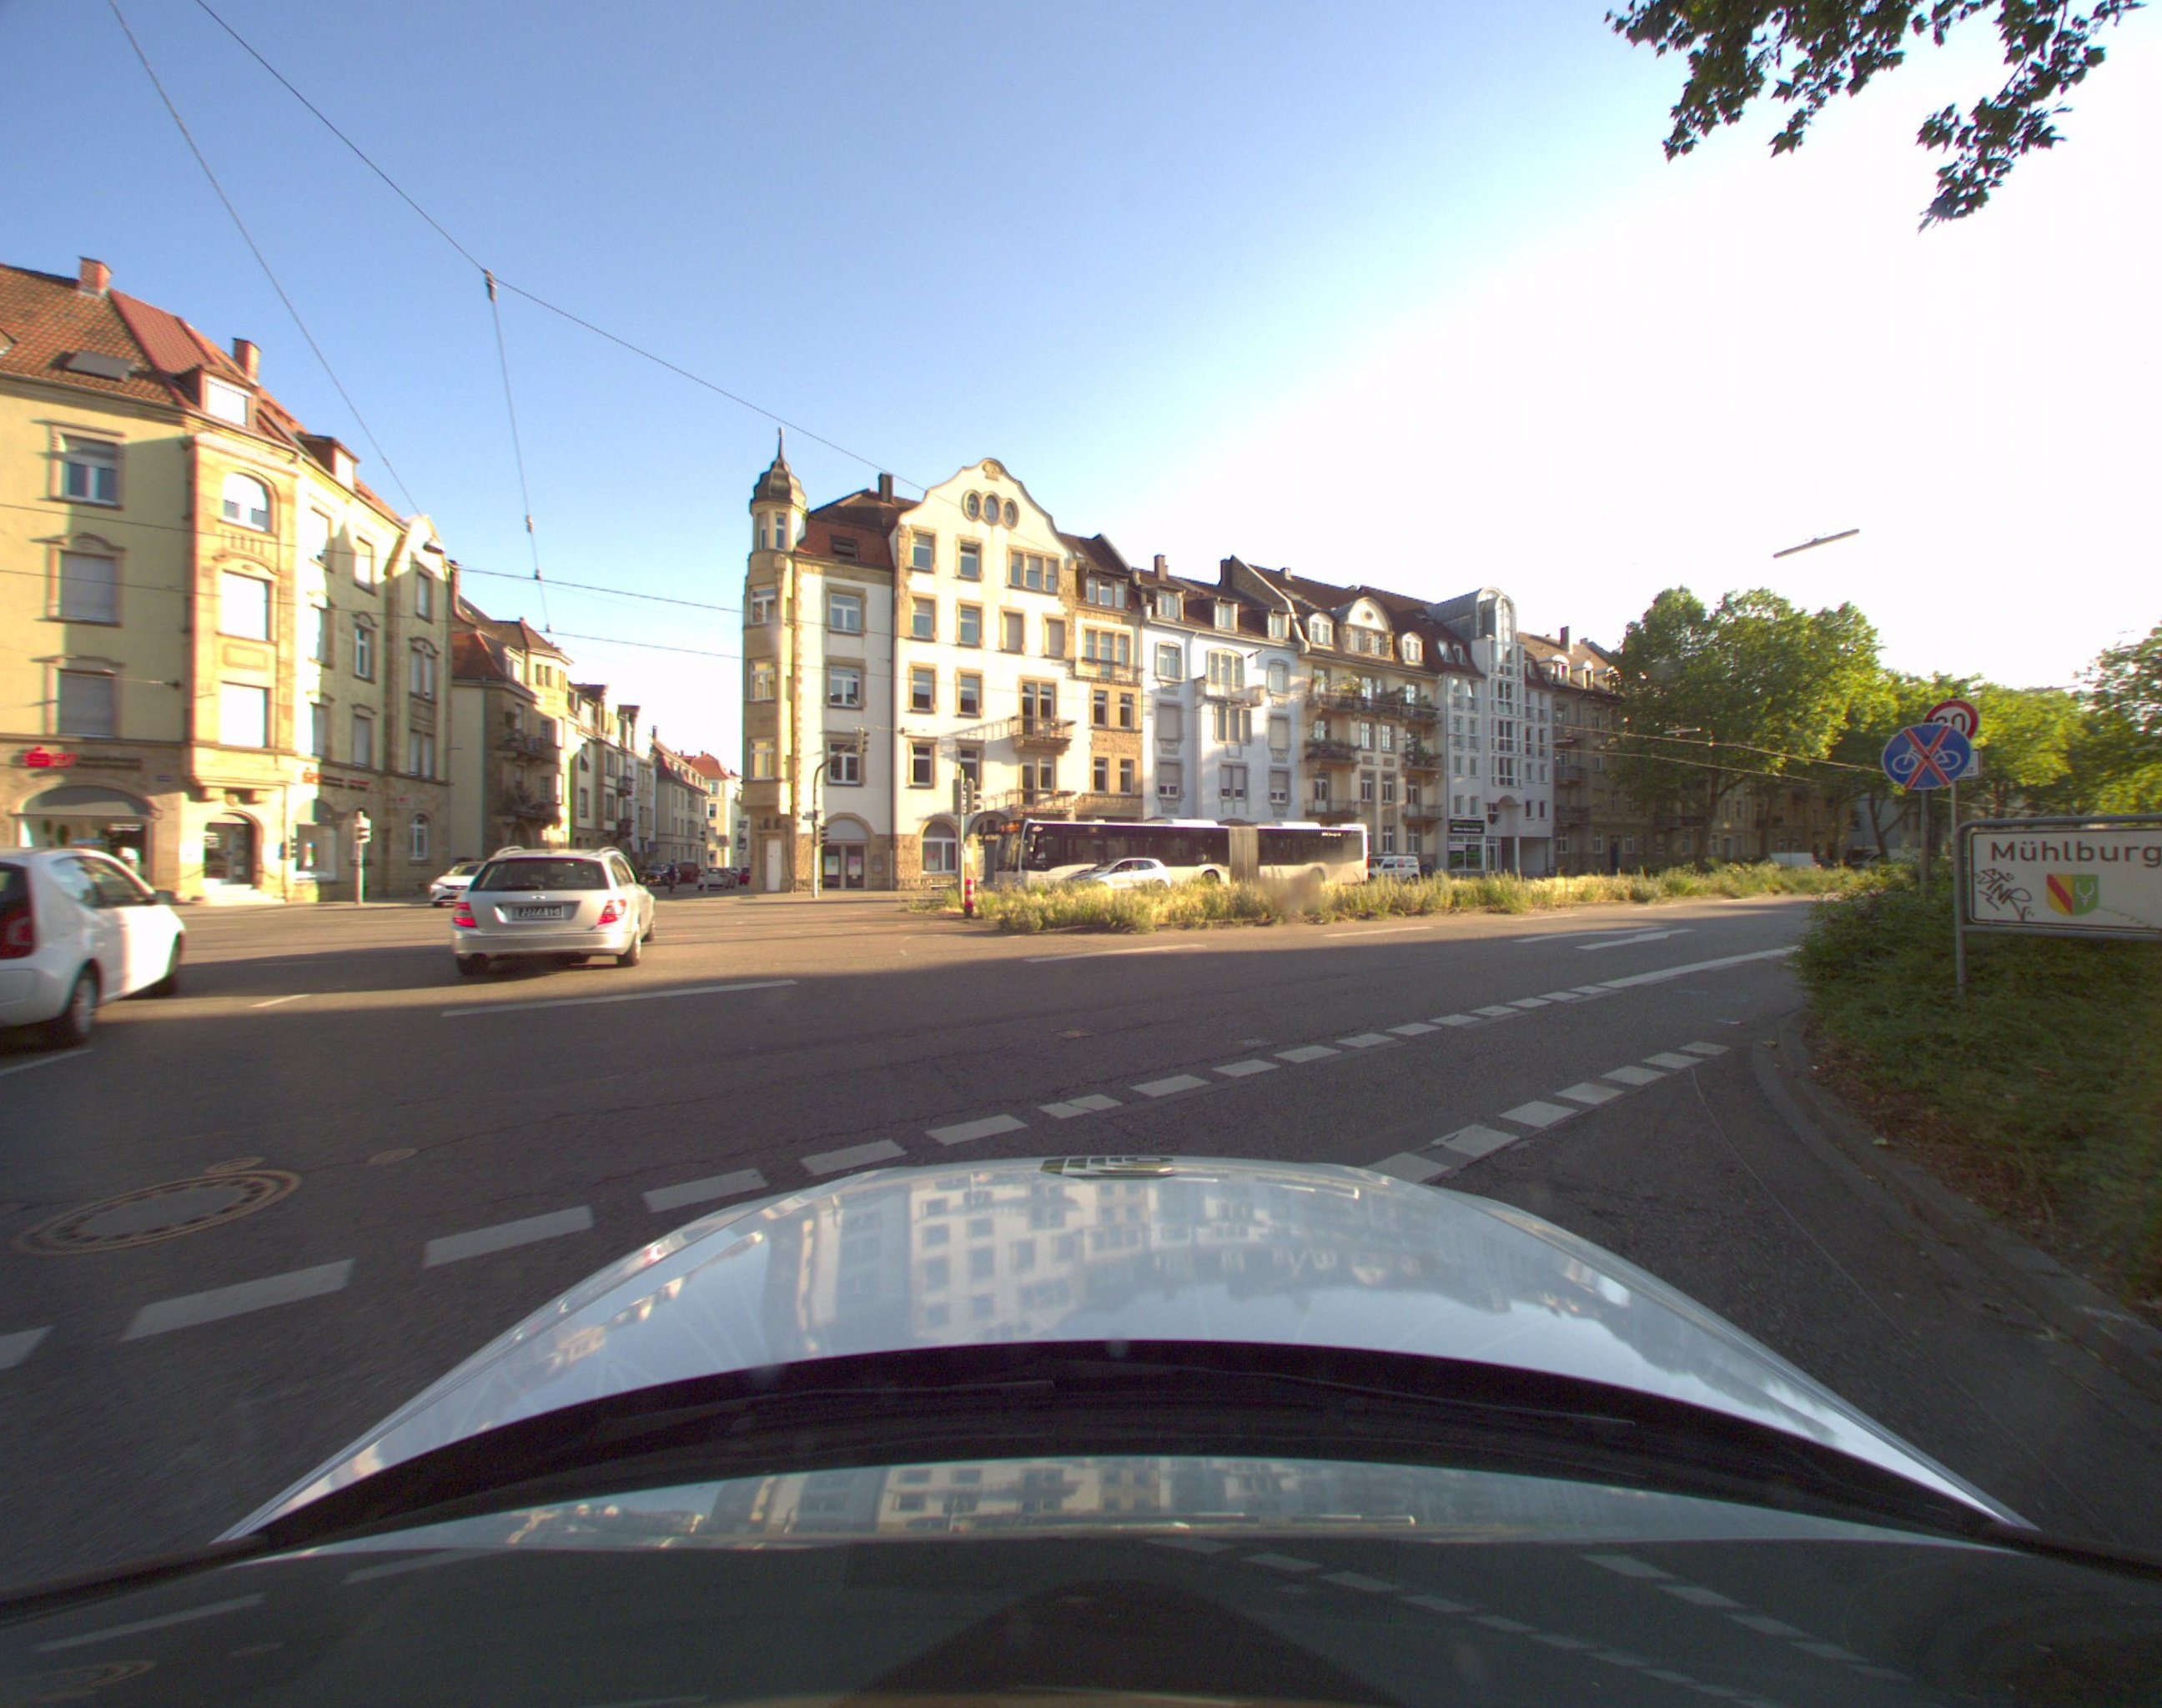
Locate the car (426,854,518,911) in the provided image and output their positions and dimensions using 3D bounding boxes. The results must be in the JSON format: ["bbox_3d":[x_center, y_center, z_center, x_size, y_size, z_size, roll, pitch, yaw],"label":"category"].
[{"bbox_3d":[-19.700,0.874,26.507,1.841,1.706,3.962,1,-1,-29],"label":"car"}]

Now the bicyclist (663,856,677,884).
[{"bbox_3d":[-21.961,0.836,43.509,0.613,1.494,0.761,1,-1,-26],"label":"bicyclist"}]

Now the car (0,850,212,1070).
[{"bbox_3d":[-8.750,0.724,6.727,1.747,1.480,3.769,1,-1,-41],"label":"car"}]

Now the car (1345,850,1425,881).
[{"bbox_3d":[18.044,0.703,48.317,4.664,1.787,1.893,1,-1,-28],"label":"car"}]

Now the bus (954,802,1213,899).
[{"bbox_3d":[0.259,-0.059,32.133,9.924,3.374,3.246,1,-1,-29],"label":"bus"}]

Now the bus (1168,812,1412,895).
[{"bbox_3d":[9.859,0.065,37.500,12.009,3.374,3.235,1,-1,-29],"label":"bus"}]

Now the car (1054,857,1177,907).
[{"bbox_3d":[1.251,0.973,29.220,4.008,1.684,1.919,1,-1,-27],"label":"car"}]

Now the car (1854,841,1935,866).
[{"bbox_3d":[82.606,-0.038,82.802,5.446,2.529,2.136,-1,-1,18],"label":"car"}]

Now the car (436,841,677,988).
[{"bbox_3d":[-6.385,0.588,10.429,1.738,1.477,4.143,1,0,-21],"label":"car"}]

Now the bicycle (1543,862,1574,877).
[{"bbox_3d":[33.757,1.097,57.585,1.892,1.032,0.756,1,5,-16],"label":"bicycle"}]

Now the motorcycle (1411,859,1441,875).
[{"bbox_3d":[23.601,0.862,55.737,2.427,1.021,0.524,0,2,-31],"label":"motorcycle"}]

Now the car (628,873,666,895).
[{"bbox_3d":[-34.003,2.305,63.877,1.834,1.615,3.978,1,-1,-16],"label":"car"}]

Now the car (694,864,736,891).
[{"bbox_3d":[-22.798,1.439,50.856,1.834,1.615,3.977,1,-1,-17],"label":"car"}]

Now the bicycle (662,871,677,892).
[{"bbox_3d":[-22.028,1.448,43.642,0.622,1.105,2.531,1,-1,-25],"label":"bicycle"}]

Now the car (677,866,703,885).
[{"bbox_3d":[-37.614,2.068,78.434,1.836,1.746,3.972,1,-1,-21],"label":"car"}]

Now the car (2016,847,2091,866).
[{"bbox_3d":[144.075,0.404,120.741,6.871,2.678,2.199,0,-1,40],"label":"car"}]

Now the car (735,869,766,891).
[{"bbox_3d":[-26.975,2.075,66.599,1.833,1.706,3.980,1,-1,-15],"label":"car"}]

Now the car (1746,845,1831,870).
[{"bbox_3d":[60.560,0.325,69.793,5.187,2.066,1.730,-1,-1,18],"label":"car"}]
